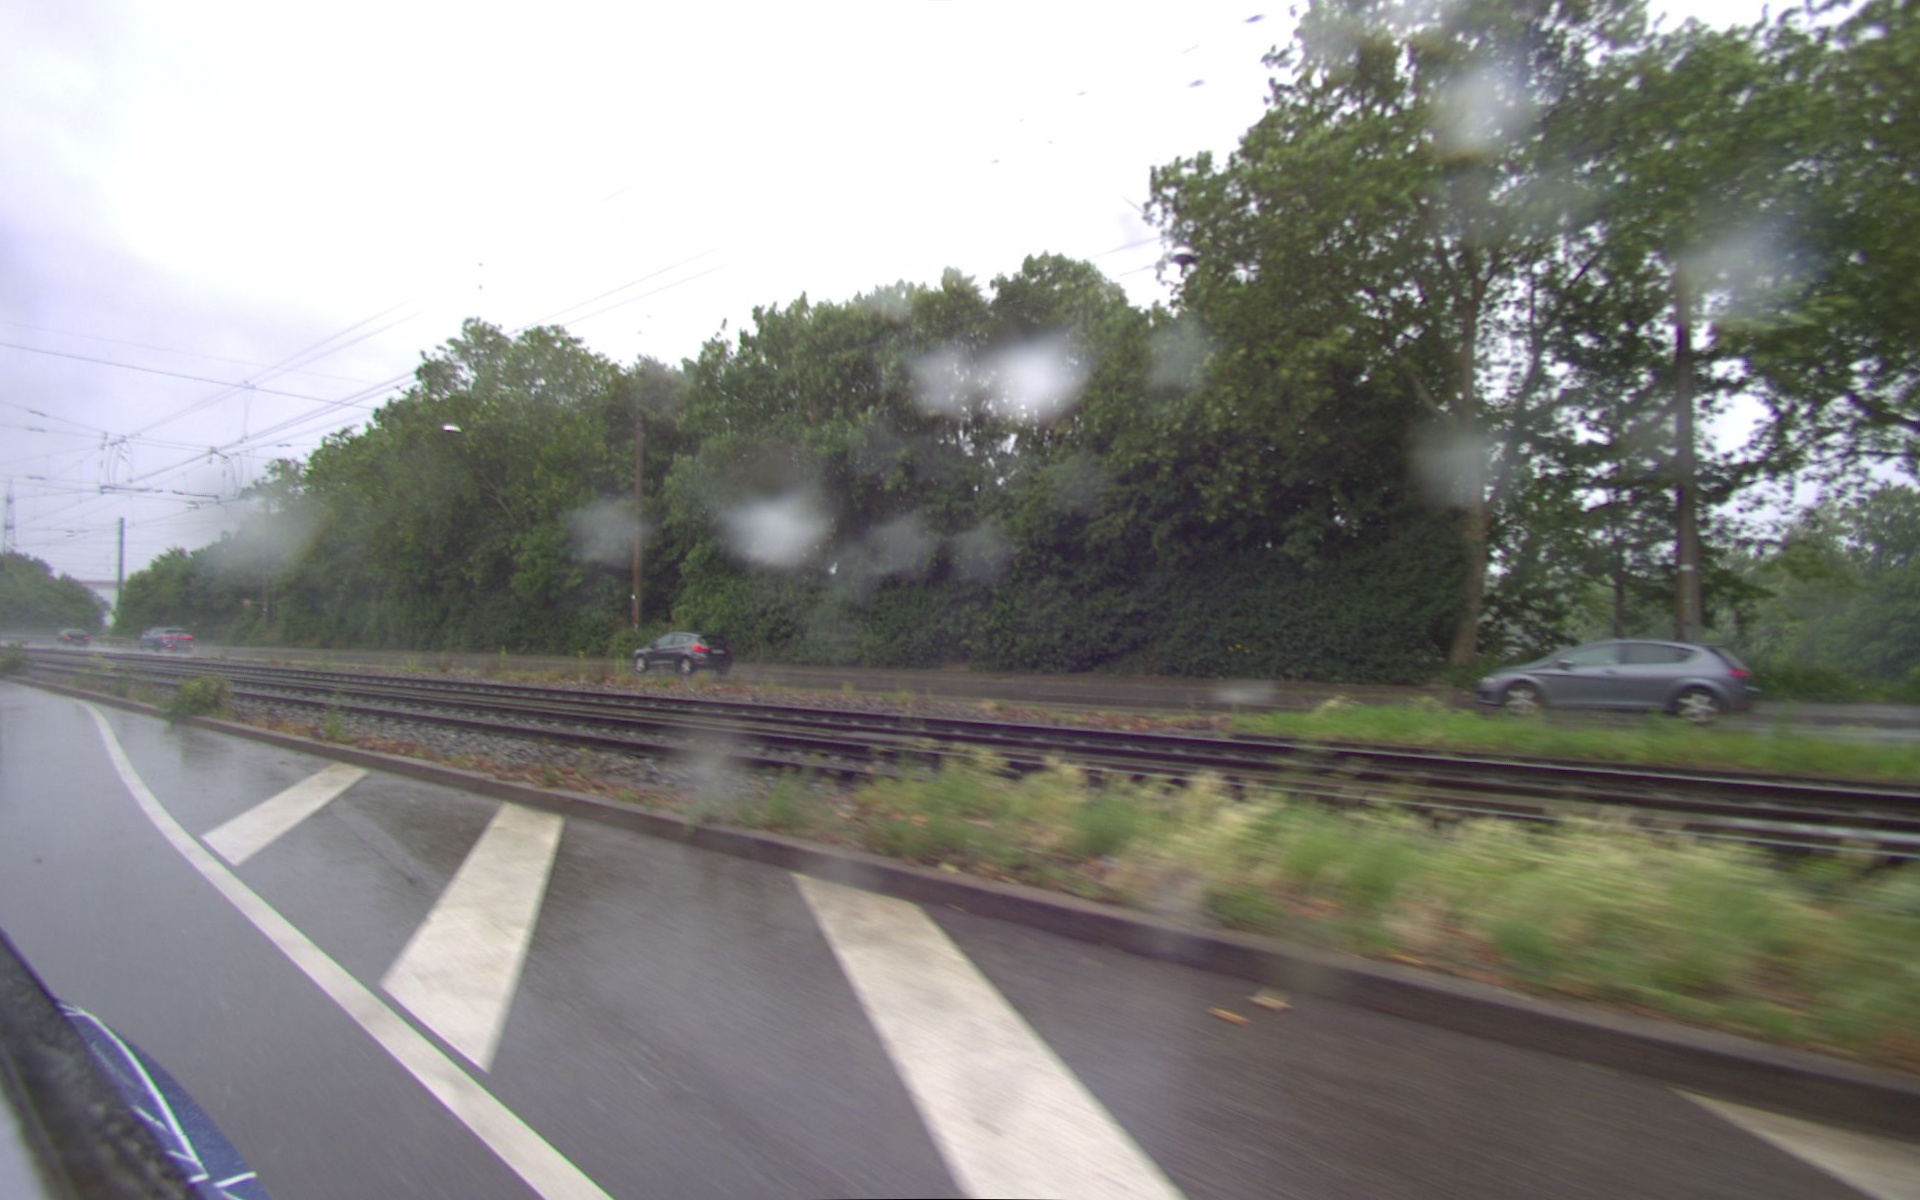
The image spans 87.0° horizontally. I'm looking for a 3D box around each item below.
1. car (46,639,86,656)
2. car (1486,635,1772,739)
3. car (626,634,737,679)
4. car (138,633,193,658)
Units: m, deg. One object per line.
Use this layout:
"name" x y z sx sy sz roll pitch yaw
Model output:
"car" -73.473 3.865 83.153 4.374 1.340 1.754 -2 -2 38
"car" 11.683 1.435 17.845 4.042 1.580 1.635 -1 -2 39
"car" -9.568 1.899 34.667 3.935 1.417 1.666 -1 -2 39
"car" -50.476 2.862 64.258 4.949 1.535 1.674 -2 -2 38
